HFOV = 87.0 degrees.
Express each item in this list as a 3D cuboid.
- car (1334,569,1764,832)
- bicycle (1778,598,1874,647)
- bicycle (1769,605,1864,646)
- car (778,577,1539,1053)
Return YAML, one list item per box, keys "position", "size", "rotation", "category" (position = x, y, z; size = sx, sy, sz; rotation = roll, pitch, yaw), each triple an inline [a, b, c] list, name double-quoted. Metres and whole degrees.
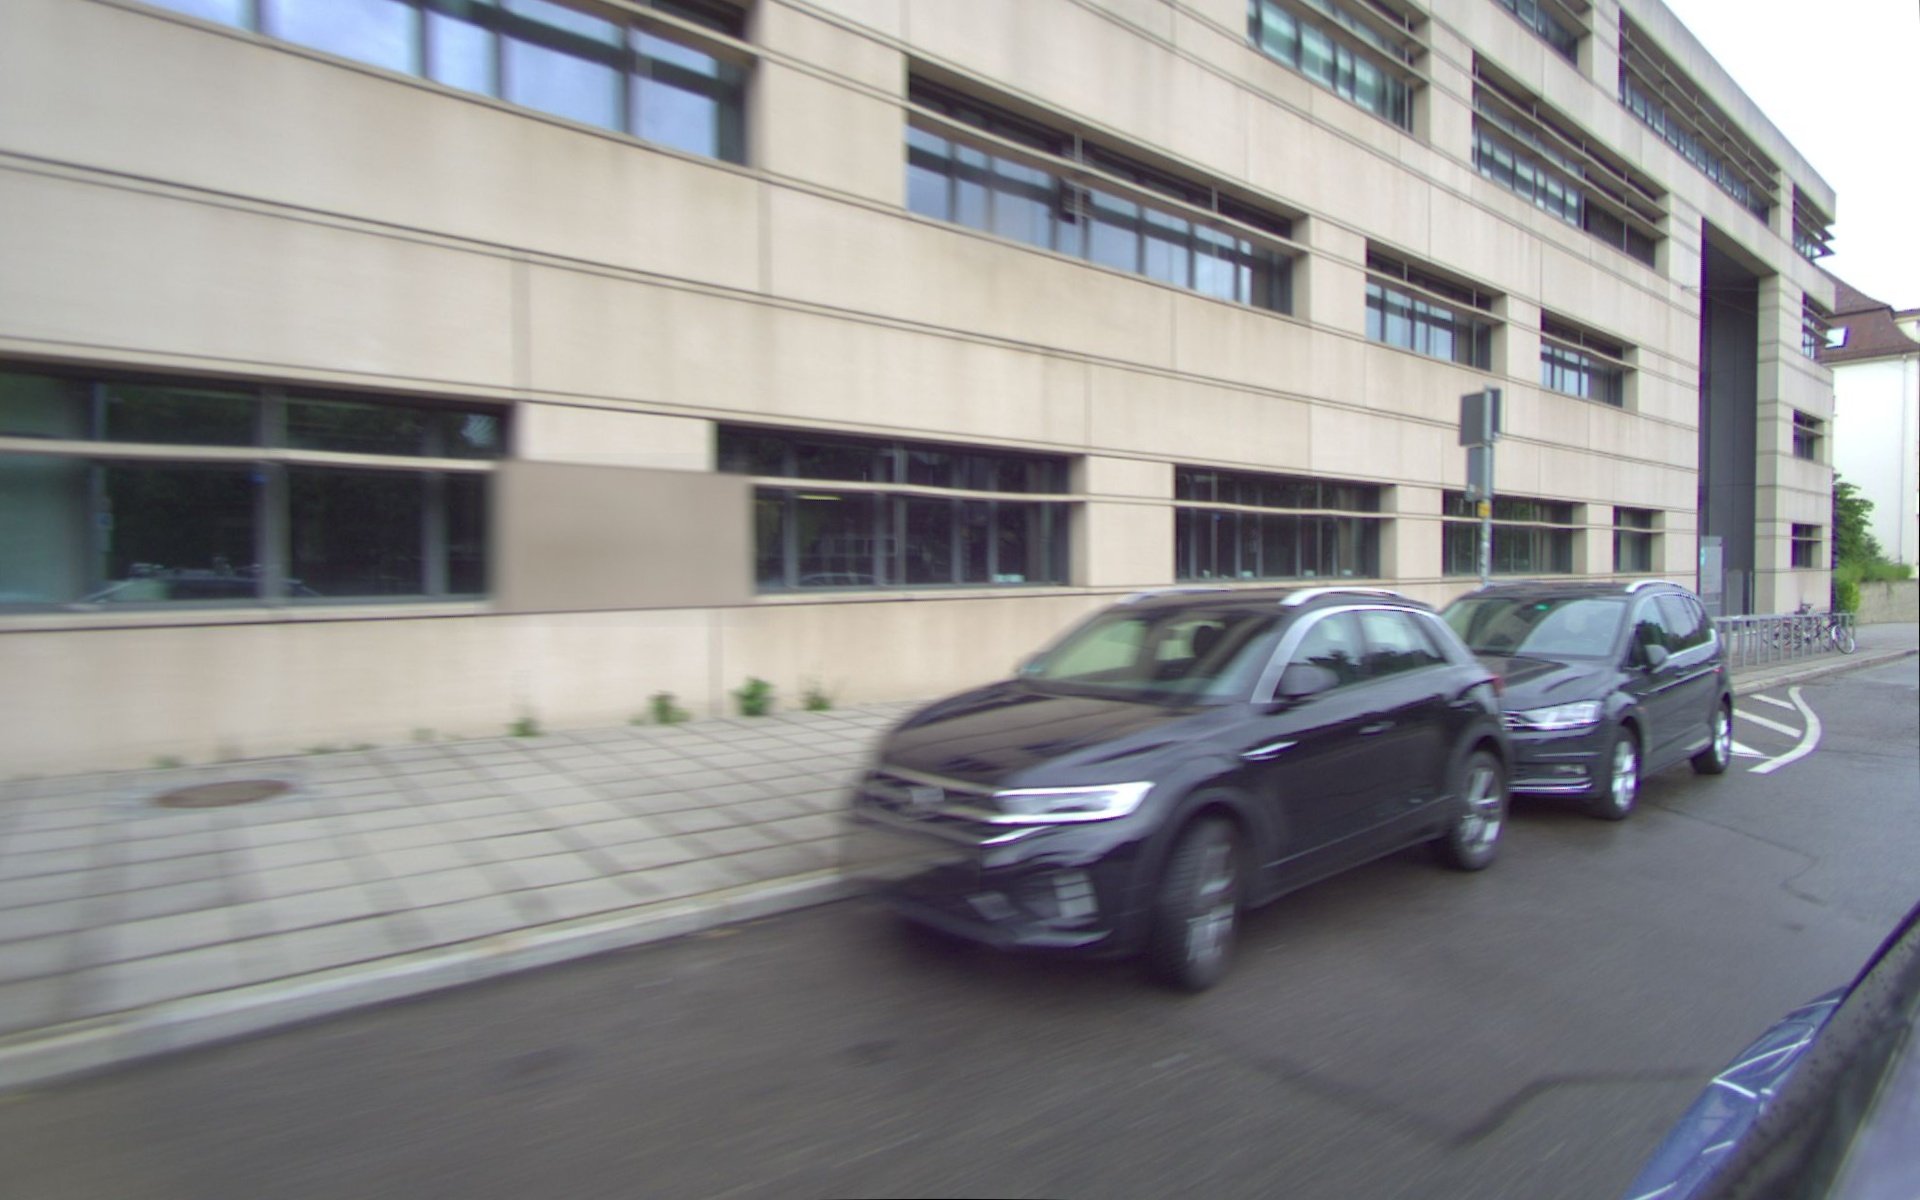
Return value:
- position: [5.010, 0.614, 8.345]
  size: [4.317, 1.624, 1.774]
  rotation: [0, 0, -41]
  category: "car"
- position: [21.072, 0.525, 24.642]
  size: [0.649, 1.133, 1.730]
  rotation: [0, 1, -44]
  category: "bicycle"
- position: [21.592, 0.624, 25.534]
  size: [0.648, 0.965, 1.761]
  rotation: [0, 1, -42]
  category: "bicycle"
- position: [1.253, 0.692, 5.231]
  size: [3.986, 1.532, 1.728]
  rotation: [-1, -1, -40]
  category: "car"
